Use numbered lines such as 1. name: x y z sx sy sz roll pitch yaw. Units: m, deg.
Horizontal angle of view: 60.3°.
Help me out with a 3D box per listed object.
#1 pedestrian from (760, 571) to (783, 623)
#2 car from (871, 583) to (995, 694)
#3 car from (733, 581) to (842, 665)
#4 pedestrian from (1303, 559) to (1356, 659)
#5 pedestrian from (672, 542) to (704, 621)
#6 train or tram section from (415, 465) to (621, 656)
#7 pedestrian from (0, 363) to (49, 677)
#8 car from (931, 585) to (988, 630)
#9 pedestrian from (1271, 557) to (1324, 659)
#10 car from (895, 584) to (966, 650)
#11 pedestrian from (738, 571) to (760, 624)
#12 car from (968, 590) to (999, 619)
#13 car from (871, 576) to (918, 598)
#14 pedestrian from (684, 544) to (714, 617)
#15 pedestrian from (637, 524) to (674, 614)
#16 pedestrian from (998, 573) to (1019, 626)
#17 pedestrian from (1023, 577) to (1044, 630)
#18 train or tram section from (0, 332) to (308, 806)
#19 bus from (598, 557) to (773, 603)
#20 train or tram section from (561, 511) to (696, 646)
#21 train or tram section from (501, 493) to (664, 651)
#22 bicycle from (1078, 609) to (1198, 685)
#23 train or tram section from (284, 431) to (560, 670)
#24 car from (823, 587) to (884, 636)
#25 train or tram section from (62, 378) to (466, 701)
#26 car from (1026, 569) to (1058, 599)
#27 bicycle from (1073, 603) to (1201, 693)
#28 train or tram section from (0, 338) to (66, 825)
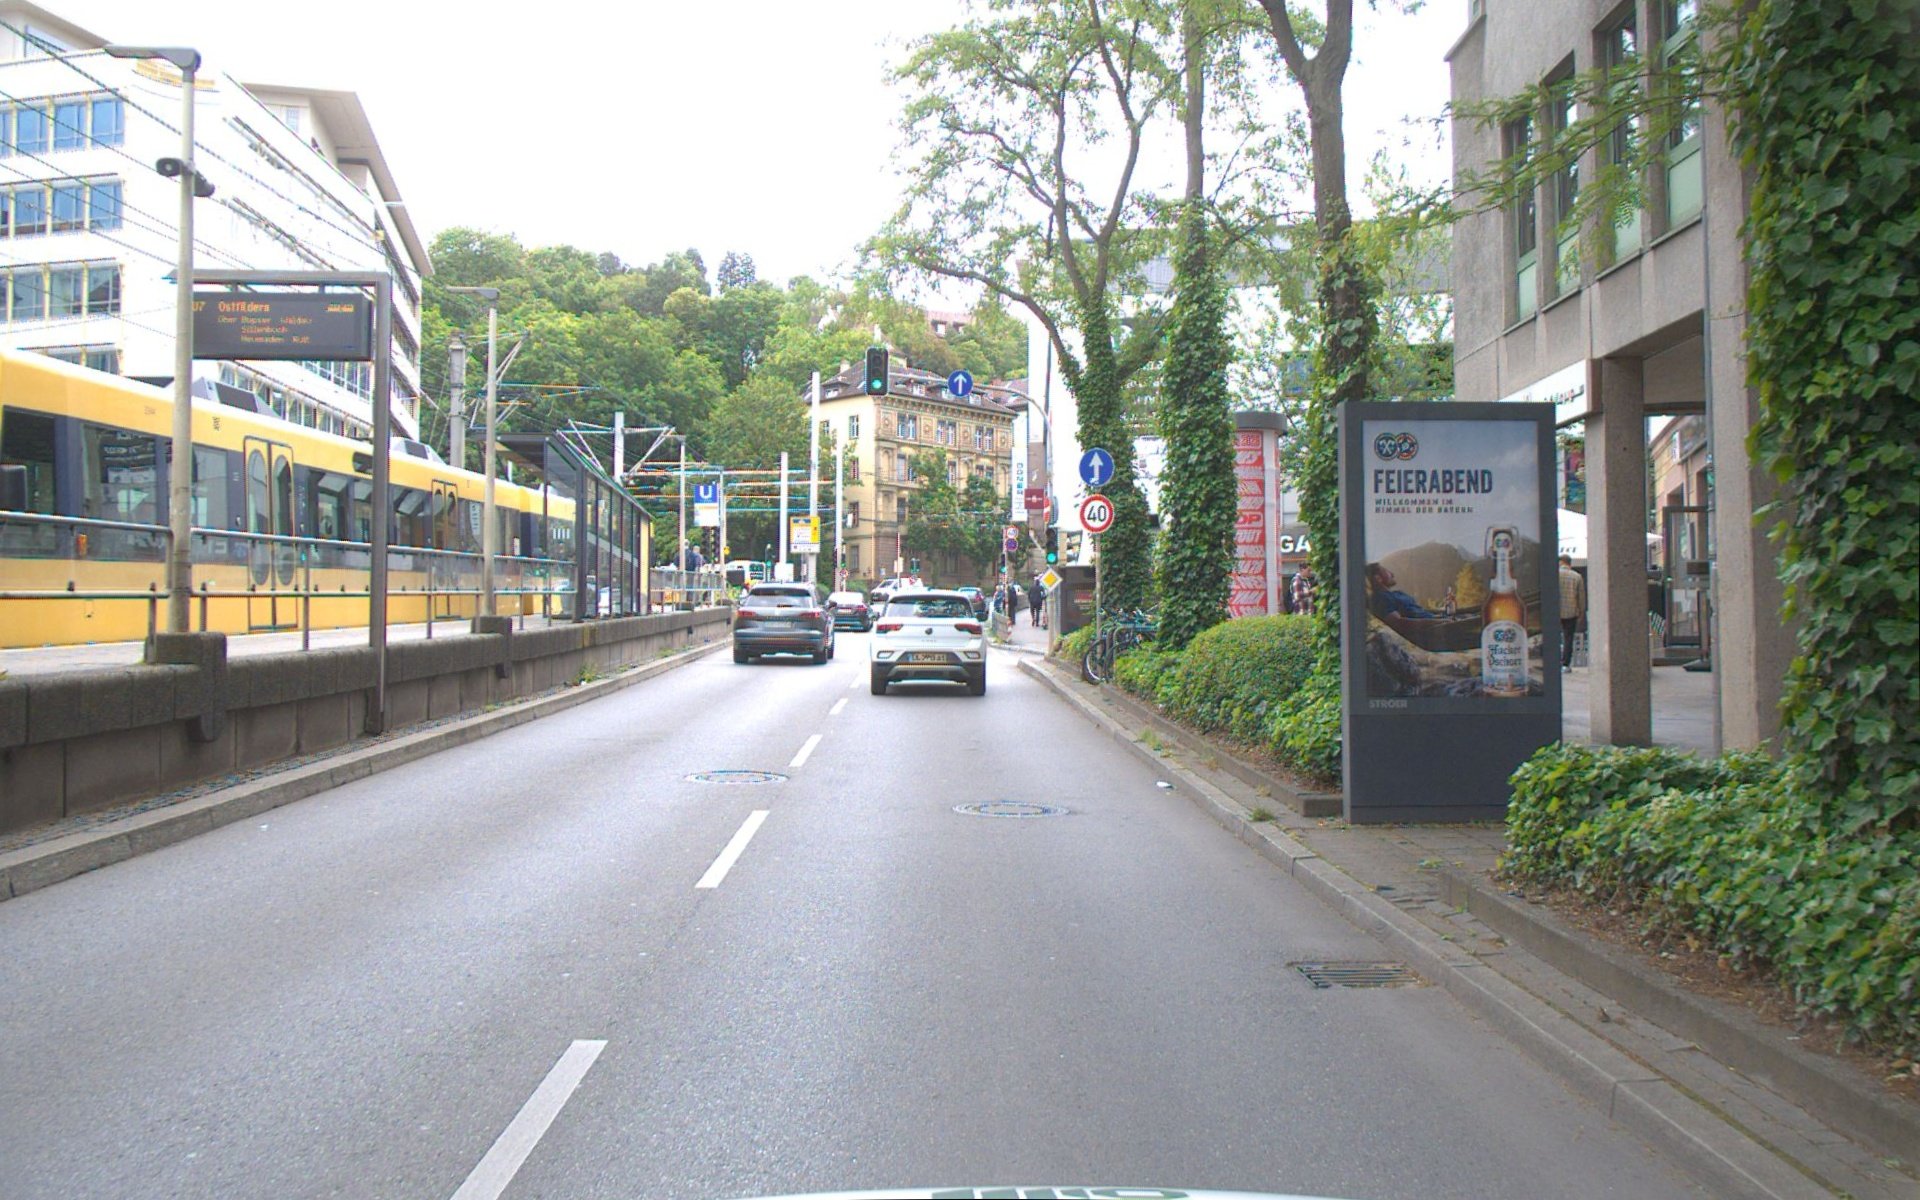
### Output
1. pedestrian: -7.498 -0.105 65.828 0.746 2.049 0.838 1 -2 0
2. car: -0.371 0.566 26.186 1.800 1.611 4.157 0 0 1
3. car: -3.596 0.451 35.142 1.953 1.664 3.999 1 0 -1
4. pedestrian: 6.136 0.156 27.491 0.626 1.636 0.584 2 -2 -21
5. pedestrian: -7.148 -0.480 43.523 0.747 2.049 0.837 1 -2 -7
6. train or tram section: -9.495 -0.751 36.295 2.756 3.731 6.749 1 -1 -1
7. pedestrian: -5.780 -0.456 9.506 0.614 1.793 0.846 0 0 -1
8. car: -0.070 0.337 68.259 1.849 1.713 4.154 1 -2 -7
9. pedestrian: 5.557 0.140 27.242 0.626 1.643 0.584 2 -2 -21
10. car: -0.800 0.514 45.853 1.846 1.713 4.160 1 -2 -1
11. pedestrian: -8.285 -0.083 64.941 0.746 2.049 0.838 1 -2 -1
12. car: 1.500 0.319 104.535 1.846 1.713 4.161 1 -2 2
13. car: -5.272 -1.046 133.797 1.878 1.719 3.989 2 0 33
14. pedestrian: -7.431 -0.542 47.126 0.747 2.049 0.837 1 -2 -7
15. pedestrian: -7.048 -0.704 38.295 0.747 2.049 0.837 1 -2 -7
16. pedestrian: 1.924 -0.001 65.115 0.746 2.049 0.839 1 -2 5
17. pedestrian: 2.877 0.142 64.473 0.746 2.049 0.839 1 -2 5
18. train or tram section: -9.007 -0.235 16.017 2.756 3.731 6.749 1 -1 -1
19. bus: -20.048 -1.475 120.274 13.022 3.118 3.379 0 -2 27
20. train or tram section: -9.831 -0.574 49.801 2.756 3.731 6.749 1 -1 -1
21. train or tram section: -9.659 -0.641 43.049 2.756 3.731 6.749 1 -1 -1
22. bicycle: 2.817 0.741 26.269 1.841 1.157 0.808 1 -2 5
23. train or tram section: -9.323 -0.750 29.547 2.756 3.731 6.749 1 -1 -1
24. car: -3.954 0.401 61.941 1.872 1.719 4.001 2 0 2
25. train or tram section: -9.171 -0.677 22.800 2.756 3.731 6.749 1 -1 -1
26. car: 6.163 -1.192 124.423 2.315 2.049 5.149 1 -2 3
27. bicycle: 2.659 0.719 24.776 1.840 1.288 0.765 1 -2 10
28. train or tram section: -8.743 -0.188 10.130 2.755 3.731 6.750 1 -1 0
